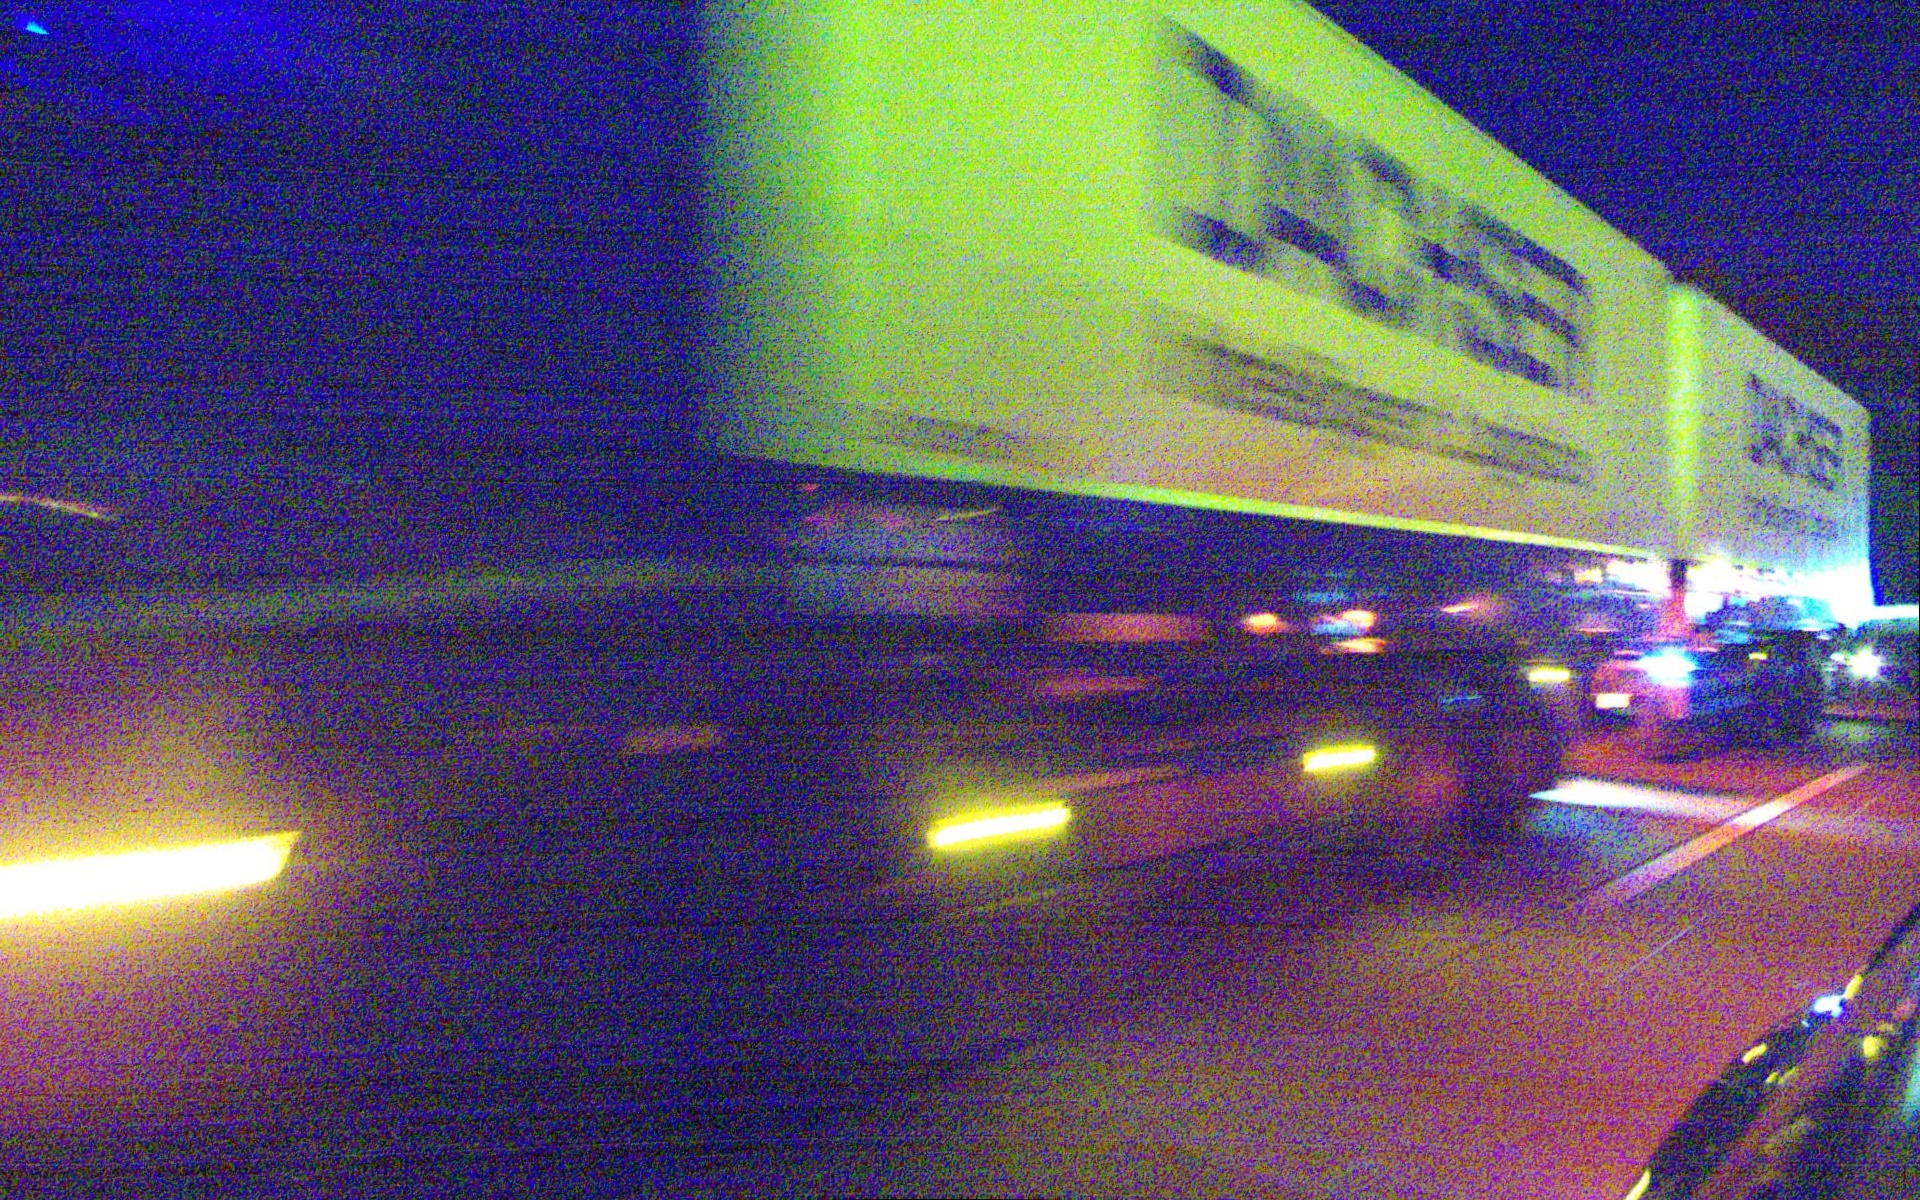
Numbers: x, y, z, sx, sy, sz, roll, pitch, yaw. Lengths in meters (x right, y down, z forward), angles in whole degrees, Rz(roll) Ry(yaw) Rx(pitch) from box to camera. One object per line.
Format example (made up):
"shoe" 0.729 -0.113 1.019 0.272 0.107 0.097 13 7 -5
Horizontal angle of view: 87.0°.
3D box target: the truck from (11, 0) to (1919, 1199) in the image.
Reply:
"truck" 4.675 -0.854 8.640 18.373 4.188 3.489 0 -1 -39
